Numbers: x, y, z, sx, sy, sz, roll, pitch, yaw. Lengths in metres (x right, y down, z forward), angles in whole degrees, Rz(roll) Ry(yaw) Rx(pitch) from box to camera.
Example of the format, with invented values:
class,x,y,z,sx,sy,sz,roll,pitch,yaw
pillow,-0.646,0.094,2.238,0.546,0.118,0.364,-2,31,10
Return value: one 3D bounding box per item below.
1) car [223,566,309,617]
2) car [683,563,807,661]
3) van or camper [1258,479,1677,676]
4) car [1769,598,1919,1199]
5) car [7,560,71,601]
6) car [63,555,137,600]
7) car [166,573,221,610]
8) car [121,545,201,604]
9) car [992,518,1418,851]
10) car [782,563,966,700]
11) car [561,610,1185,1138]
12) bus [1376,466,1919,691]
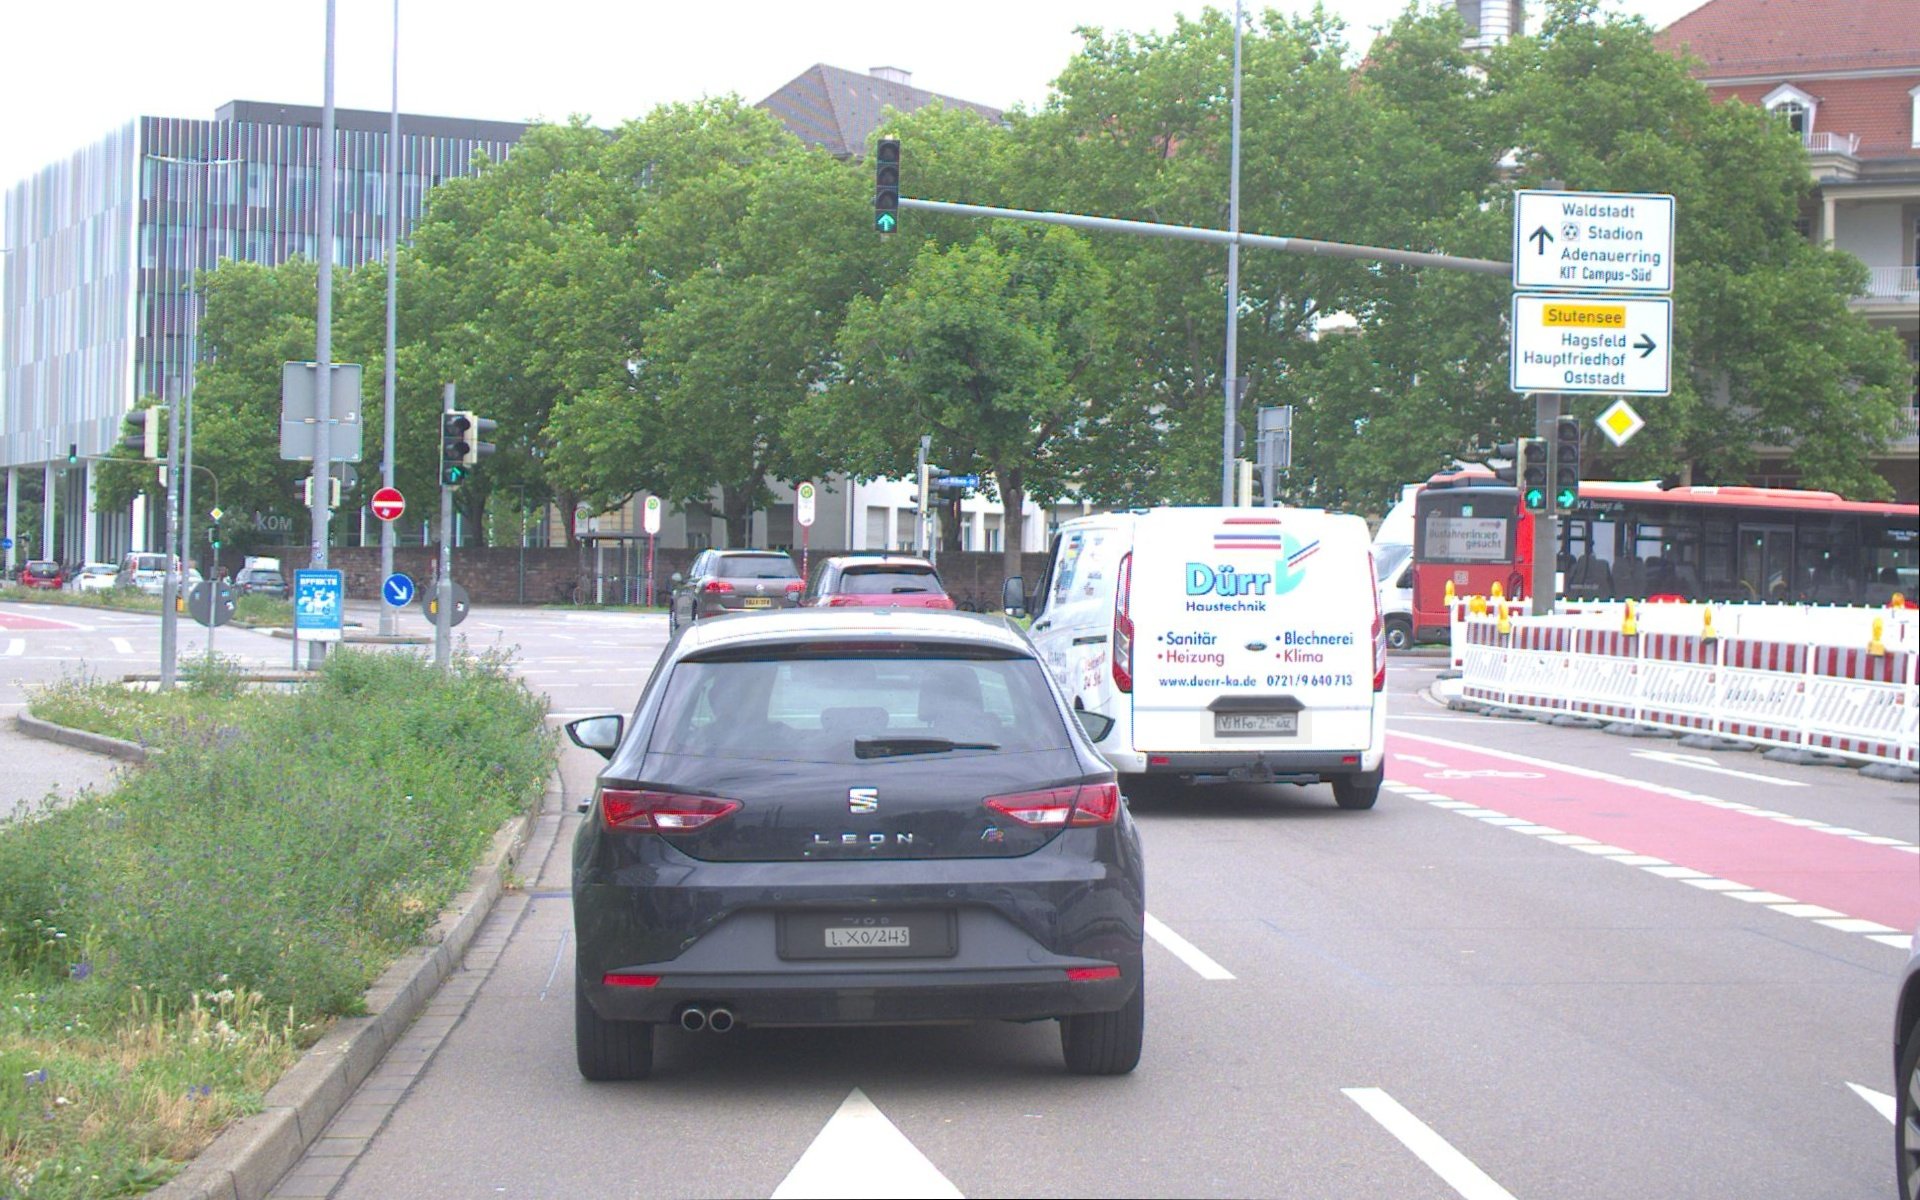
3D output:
class,x,y,z,sx,sy,sz,roll,pitch,yaw
car,-23.895,-0.303,118.295,1.917,1.678,4.001,2,0,-26
car,-3.710,0.188,59.000,1.993,1.560,4.205,2,0,-4
van or camper,9.336,-0.345,63.131,7.127,3.321,2.877,2,-1,-24
car,2.838,0.753,5.605,1.720,1.477,4.629,1,0,-3
car,-40.089,-0.852,149.644,1.994,1.676,4.011,2,0,-25
car,-32.994,-0.880,131.837,1.993,1.634,4.001,2,0,-25
car,-29.615,-0.348,132.775,1.525,1.360,2.970,2,0,-23
car,-28.357,-0.908,121.961,1.993,2.007,4.001,2,0,-24
car,1.550,0.522,23.836,1.993,2.012,5.033,2,0,-7
car,-1.151,0.375,43.751,1.857,1.595,4.206,2,0,-8
car,-0.468,0.781,11.701,1.745,1.459,4.001,-1,0,-7
bus,12.551,-0.238,57.825,12.340,3.286,3.068,2,0,-38
